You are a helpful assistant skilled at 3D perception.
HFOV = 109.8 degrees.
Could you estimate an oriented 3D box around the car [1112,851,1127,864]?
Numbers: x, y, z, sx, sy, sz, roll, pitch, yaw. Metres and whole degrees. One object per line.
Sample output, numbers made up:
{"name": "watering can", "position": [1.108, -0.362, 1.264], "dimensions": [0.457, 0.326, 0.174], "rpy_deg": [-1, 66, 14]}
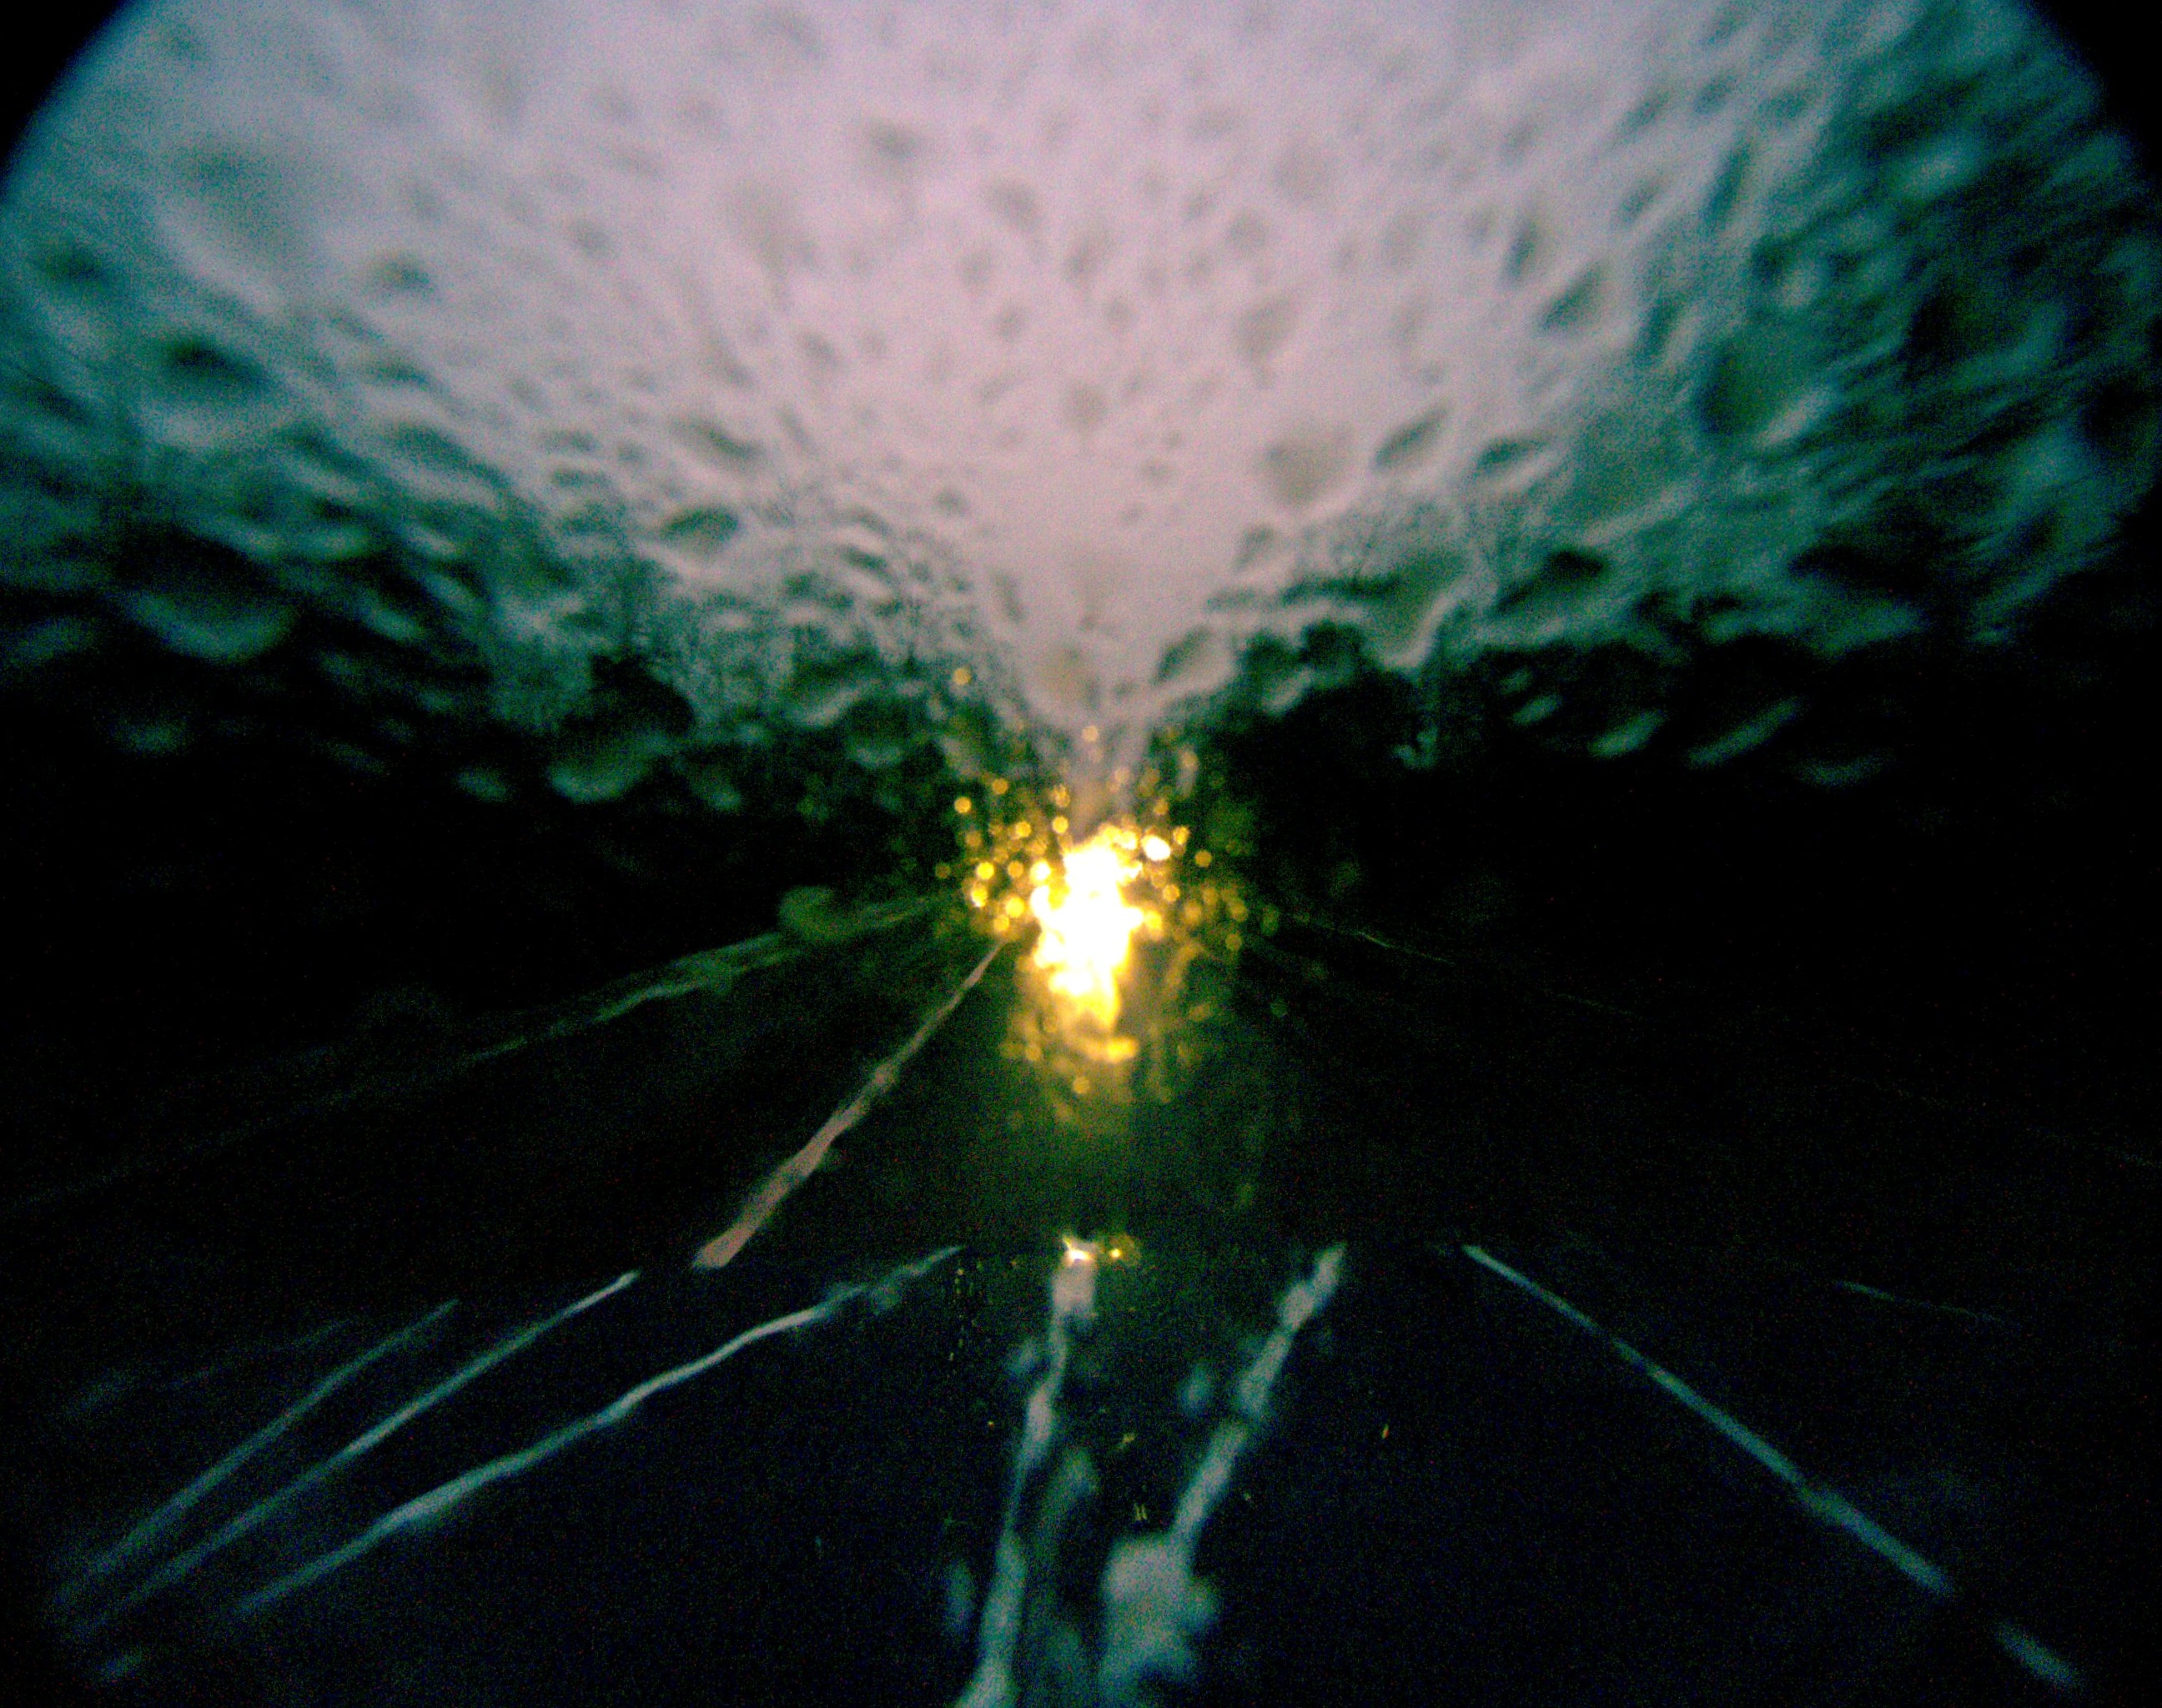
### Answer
{"name": "car", "position": [4.973, 0.411, 97.879], "dimensions": [1.979, 1.559, 4.928], "rpy_deg": [0, 0, 3]}

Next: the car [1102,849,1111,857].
{"name": "car", "position": [5.508, -0.292, 164.238], "dimensions": [1.826, 1.639, 4.750], "rpy_deg": [1, 0, 1]}

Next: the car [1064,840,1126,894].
{"name": "car", "position": [0.673, 0.512, 35.127], "dimensions": [2.542, 2.213, 6.169], "rpy_deg": [-2, 1, 2]}
